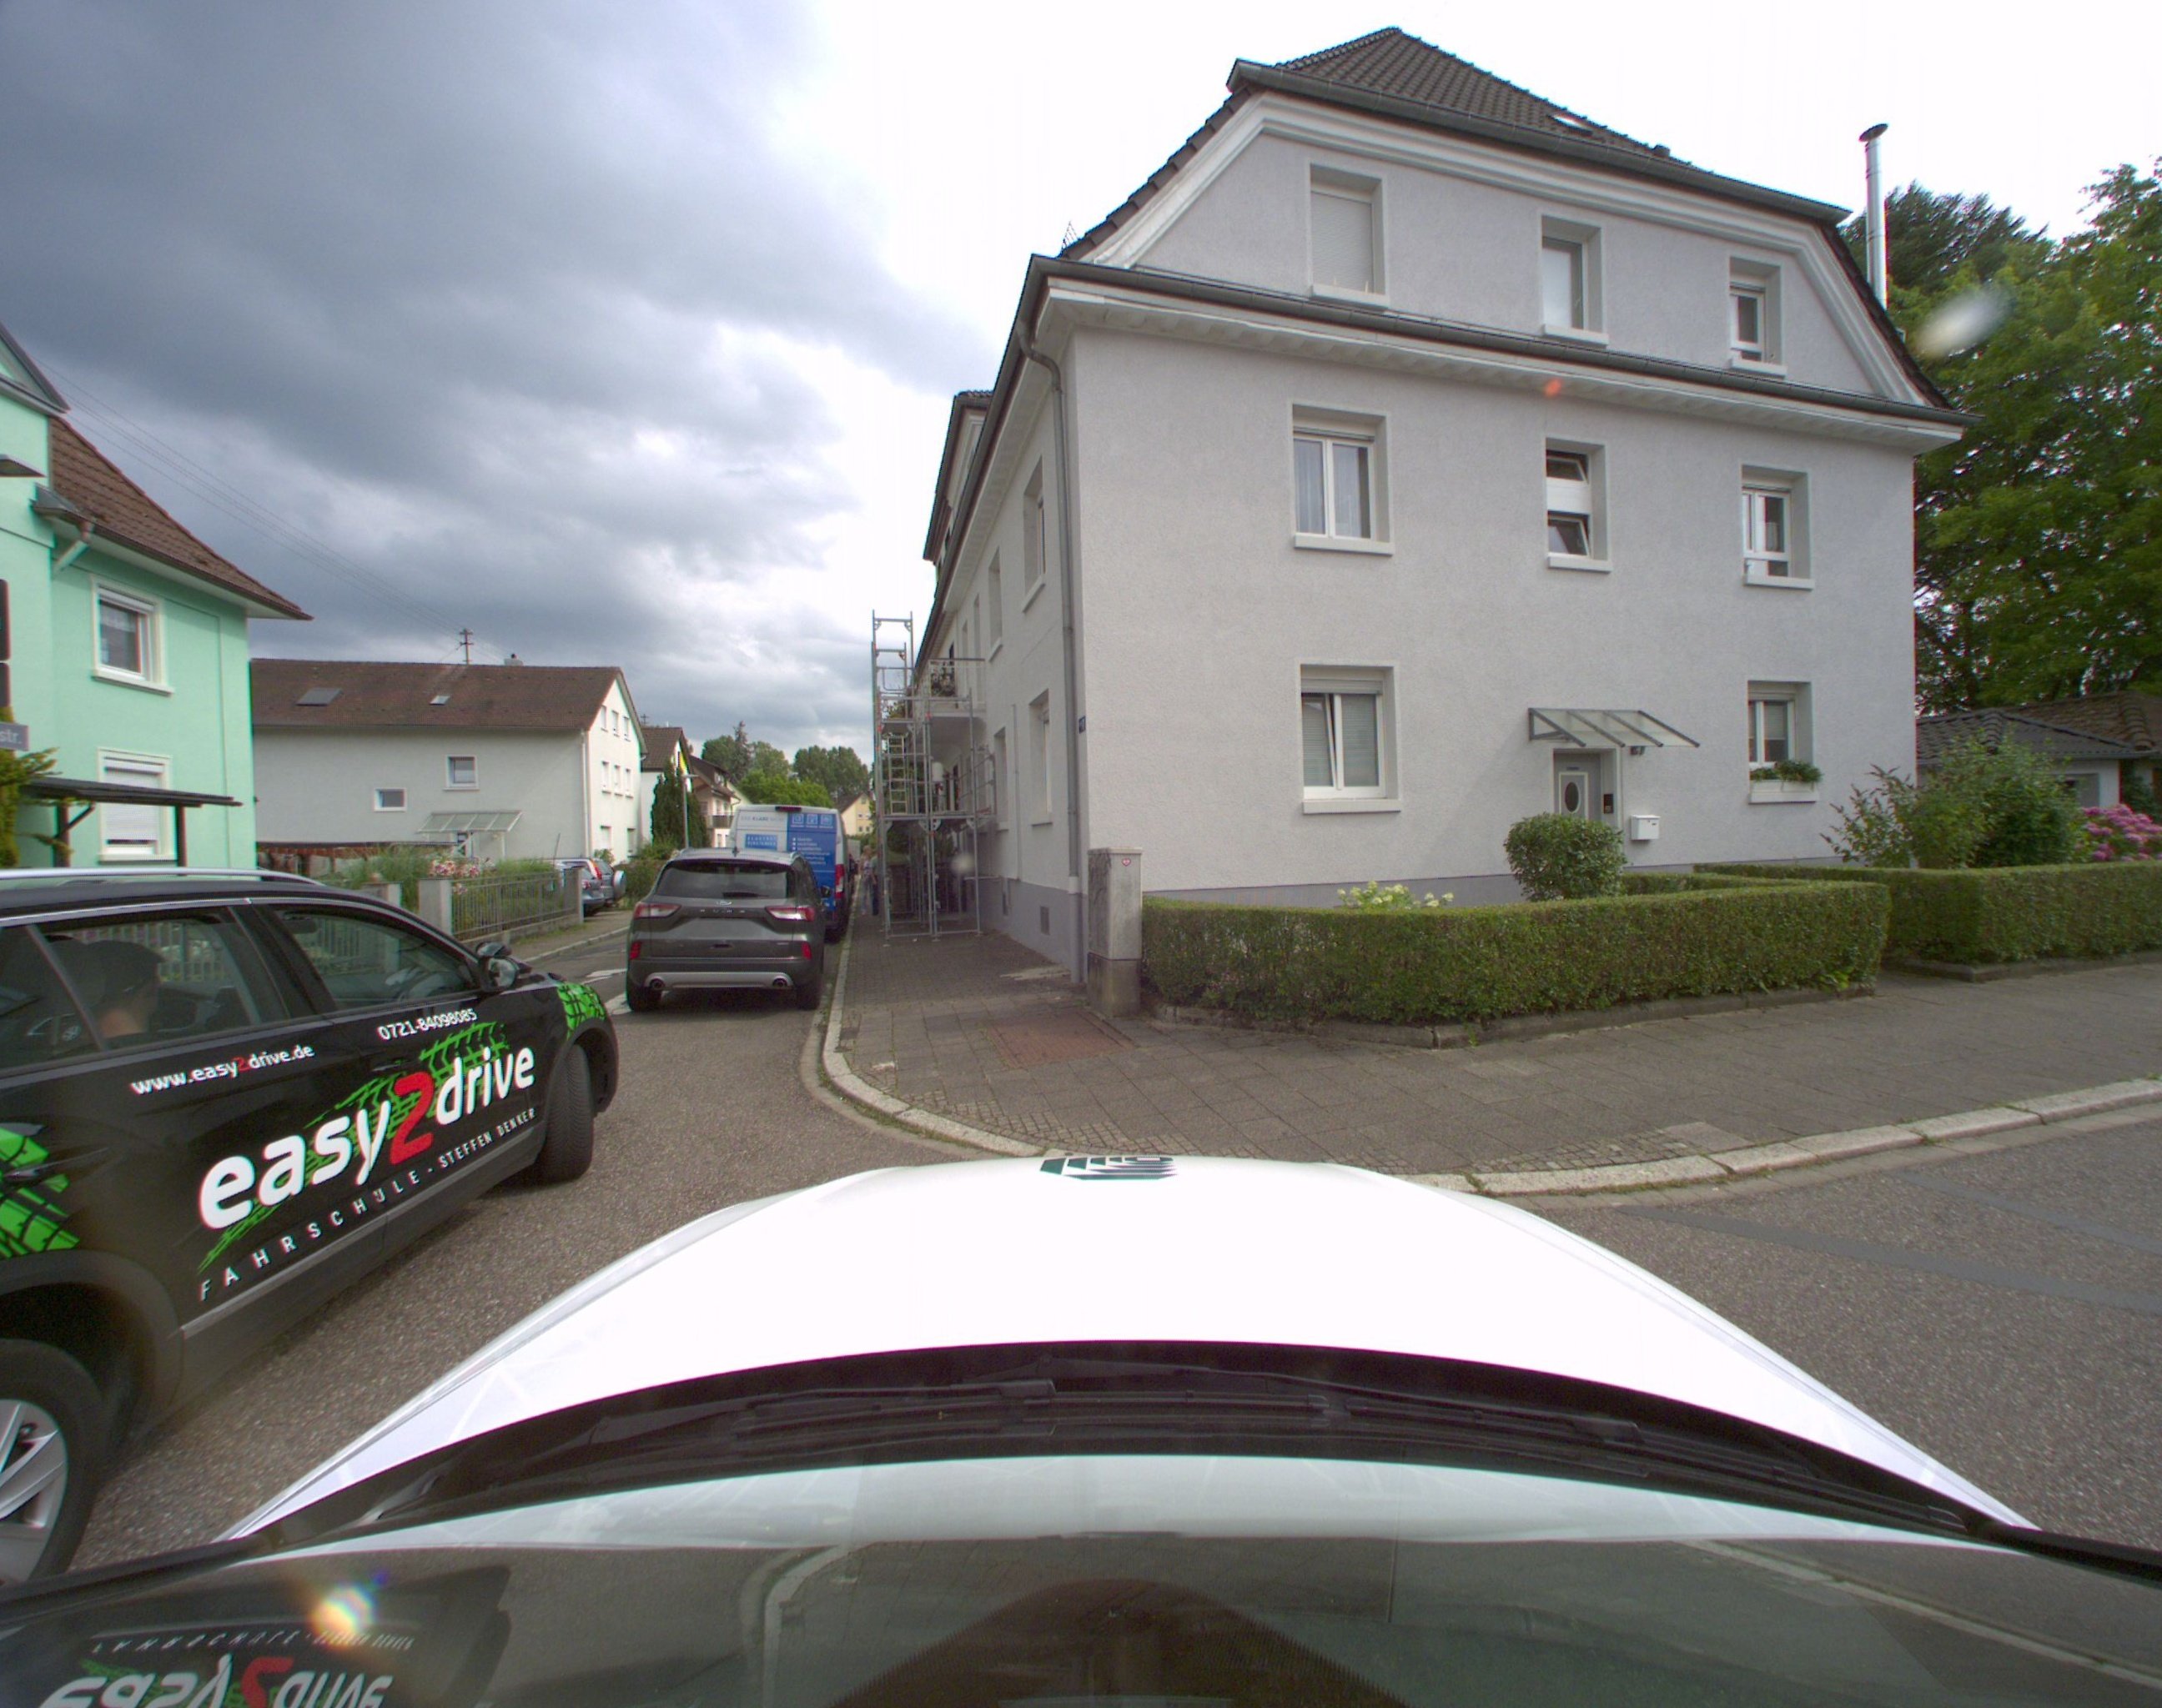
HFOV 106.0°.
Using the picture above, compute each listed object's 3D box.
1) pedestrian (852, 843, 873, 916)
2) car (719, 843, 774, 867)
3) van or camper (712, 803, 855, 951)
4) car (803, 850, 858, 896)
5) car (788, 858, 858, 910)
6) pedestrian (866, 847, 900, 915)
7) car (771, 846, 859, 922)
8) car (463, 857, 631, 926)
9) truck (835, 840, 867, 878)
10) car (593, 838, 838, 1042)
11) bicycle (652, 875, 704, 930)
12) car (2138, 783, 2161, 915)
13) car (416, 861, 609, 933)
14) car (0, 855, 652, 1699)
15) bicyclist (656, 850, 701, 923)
[{"bbox_3d":[-5.449,0.629,20.301,0.409,1.762,0.510,-2,-1,-18],"label":"pedestrian"},{"bbox_3d":[-27.537,0.104,67.202,4.000,1.772,1.857,-2,-1,-20],"label":"car"},{"bbox_3d":[-5.775,0.359,16.456,2.196,2.459,5.028,-2,1,-15],"label":"van or camper"},{"bbox_3d":[-10.610,0.739,34.505,1.999,1.749,4.316,-2,1,-17],"label":"car"},{"bbox_3d":[-8.525,0.909,27.014,1.999,1.455,4.316,-2,1,-17],"label":"car"},{"bbox_3d":[-4.885,0.660,20.143,0.598,1.629,0.626,-3,-1,4],"label":"pedestrian"},{"bbox_3d":[-7.186,0.712,22.161,1.999,1.772,4.316,-2,1,-17],"label":"car"},{"bbox_3d":[-14.766,0.987,22.730,3.582,1.667,1.577,-2,0,-19],"label":"car"},{"bbox_3d":[-17.381,0.328,61.367,2.135,2.657,4.558,-2,1,-17],"label":"truck"},{"bbox_3d":[-3.941,0.741,9.532,1.999,1.726,4.316,-2,1,-17],"label":"car"},{"bbox_3d":[-9.593,1.119,19.445,0.706,1.152,1.863,-3,1,-15],"label":"bicycle"},{"bbox_3d":[17.123,-0.138,11.030,3.992,1.837,1.991,-2,1,-14],"label":"car"},{"bbox_3d":[-13.983,1.014,20.264,3.582,1.500,1.577,-2,0,-19],"label":"car"},{"bbox_3d":[-3.058,0.798,2.542,1.816,1.520,4.030,-1,0,-9],"label":"car"},{"bbox_3d":[-9.623,0.750,19.508,0.697,1.666,0.970,-3,0,-15],"label":"bicyclist"}]
